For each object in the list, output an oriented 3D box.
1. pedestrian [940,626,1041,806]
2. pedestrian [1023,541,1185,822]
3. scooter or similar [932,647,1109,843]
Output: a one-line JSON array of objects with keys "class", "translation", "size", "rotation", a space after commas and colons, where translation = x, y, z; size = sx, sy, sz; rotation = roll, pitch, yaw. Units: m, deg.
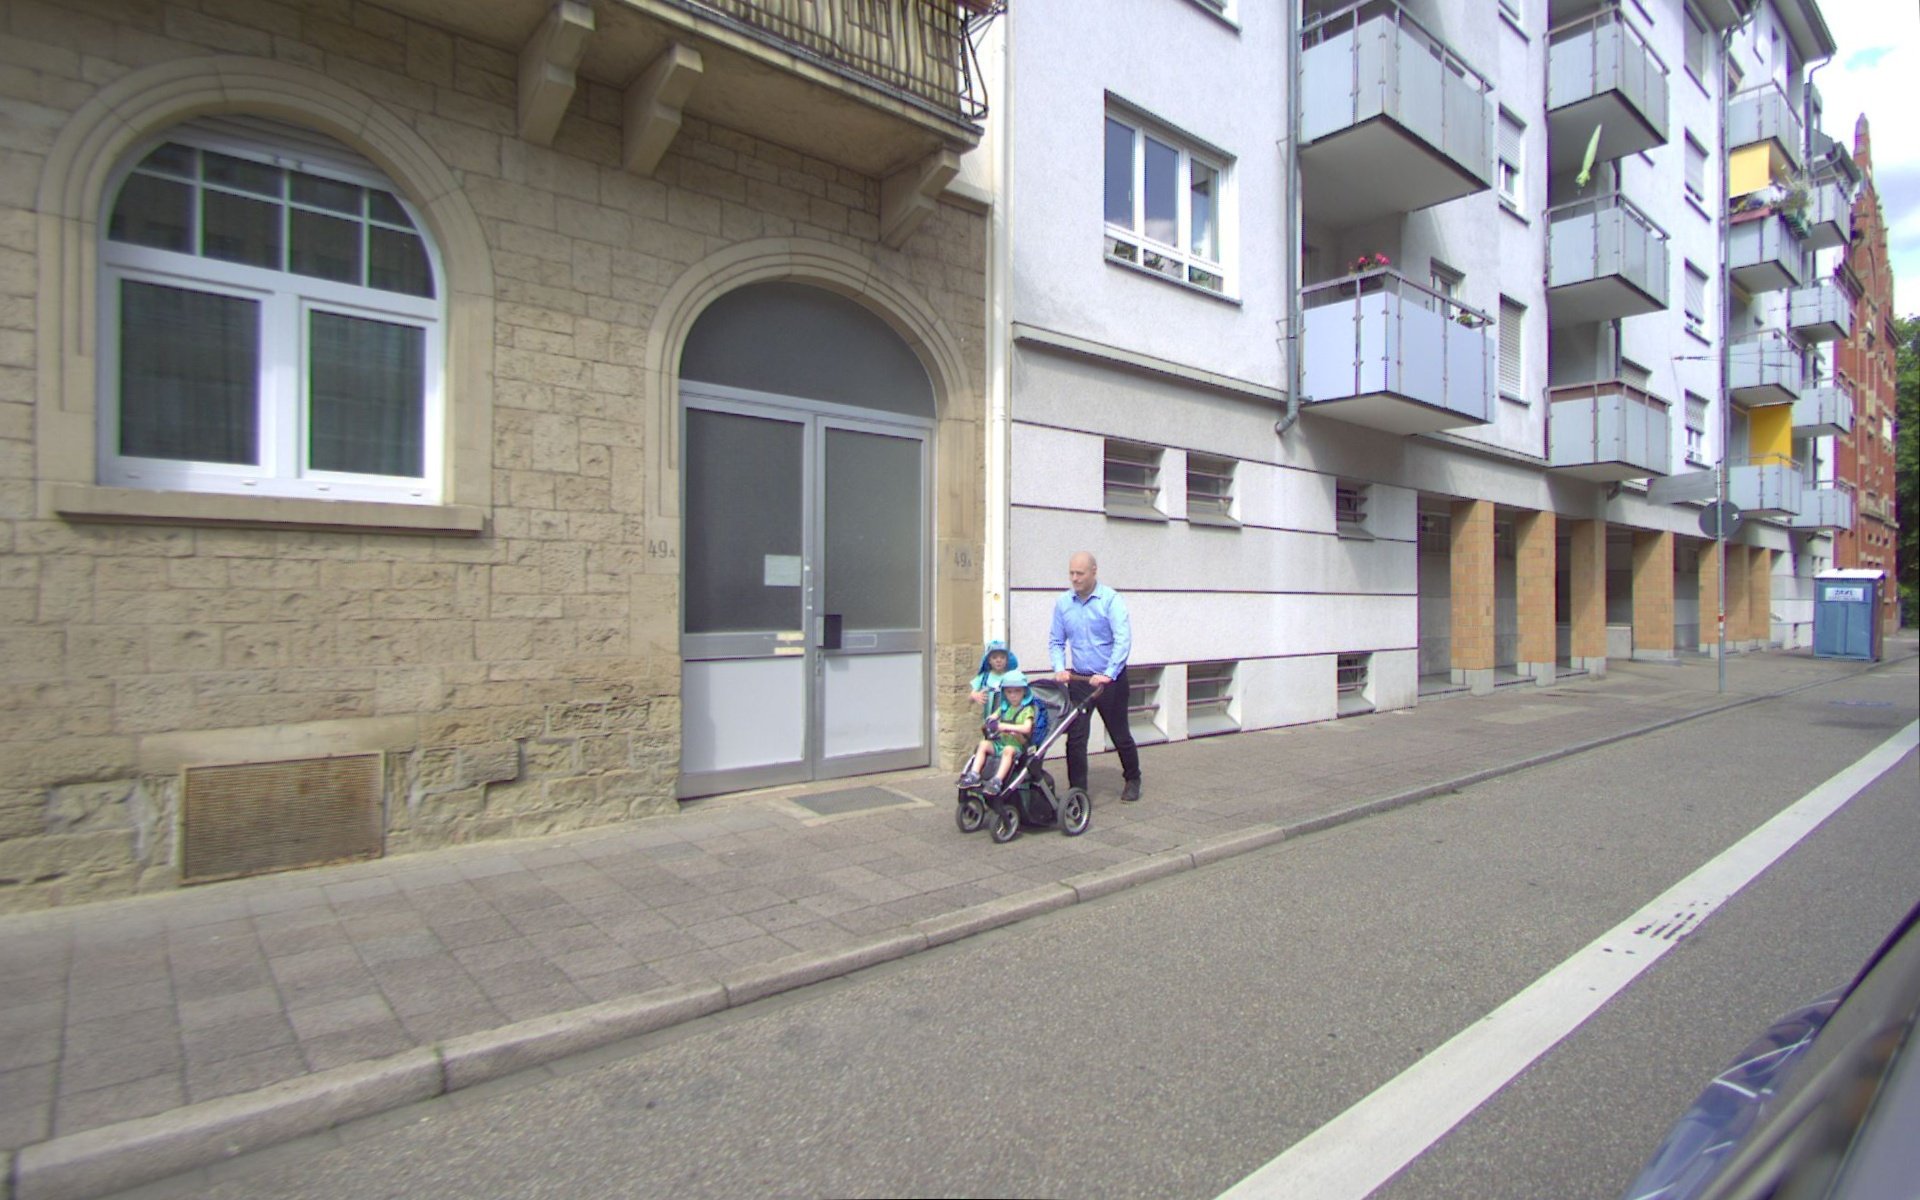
[{"class": "pedestrian", "translation": [0.209, 0.771, 6.996], "size": [0.485, 1.148, 0.457], "rotation": [0, 2, -40]}, {"class": "pedestrian", "translation": [0.978, 0.500, 6.856], "size": [0.861, 1.760, 0.622], "rotation": [0, 3, -40]}, {"class": "scooter or similar", "translation": [0.374, 0.844, 6.209], "size": [0.889, 1.014, 0.594], "rotation": [0, 4, -40]}]
